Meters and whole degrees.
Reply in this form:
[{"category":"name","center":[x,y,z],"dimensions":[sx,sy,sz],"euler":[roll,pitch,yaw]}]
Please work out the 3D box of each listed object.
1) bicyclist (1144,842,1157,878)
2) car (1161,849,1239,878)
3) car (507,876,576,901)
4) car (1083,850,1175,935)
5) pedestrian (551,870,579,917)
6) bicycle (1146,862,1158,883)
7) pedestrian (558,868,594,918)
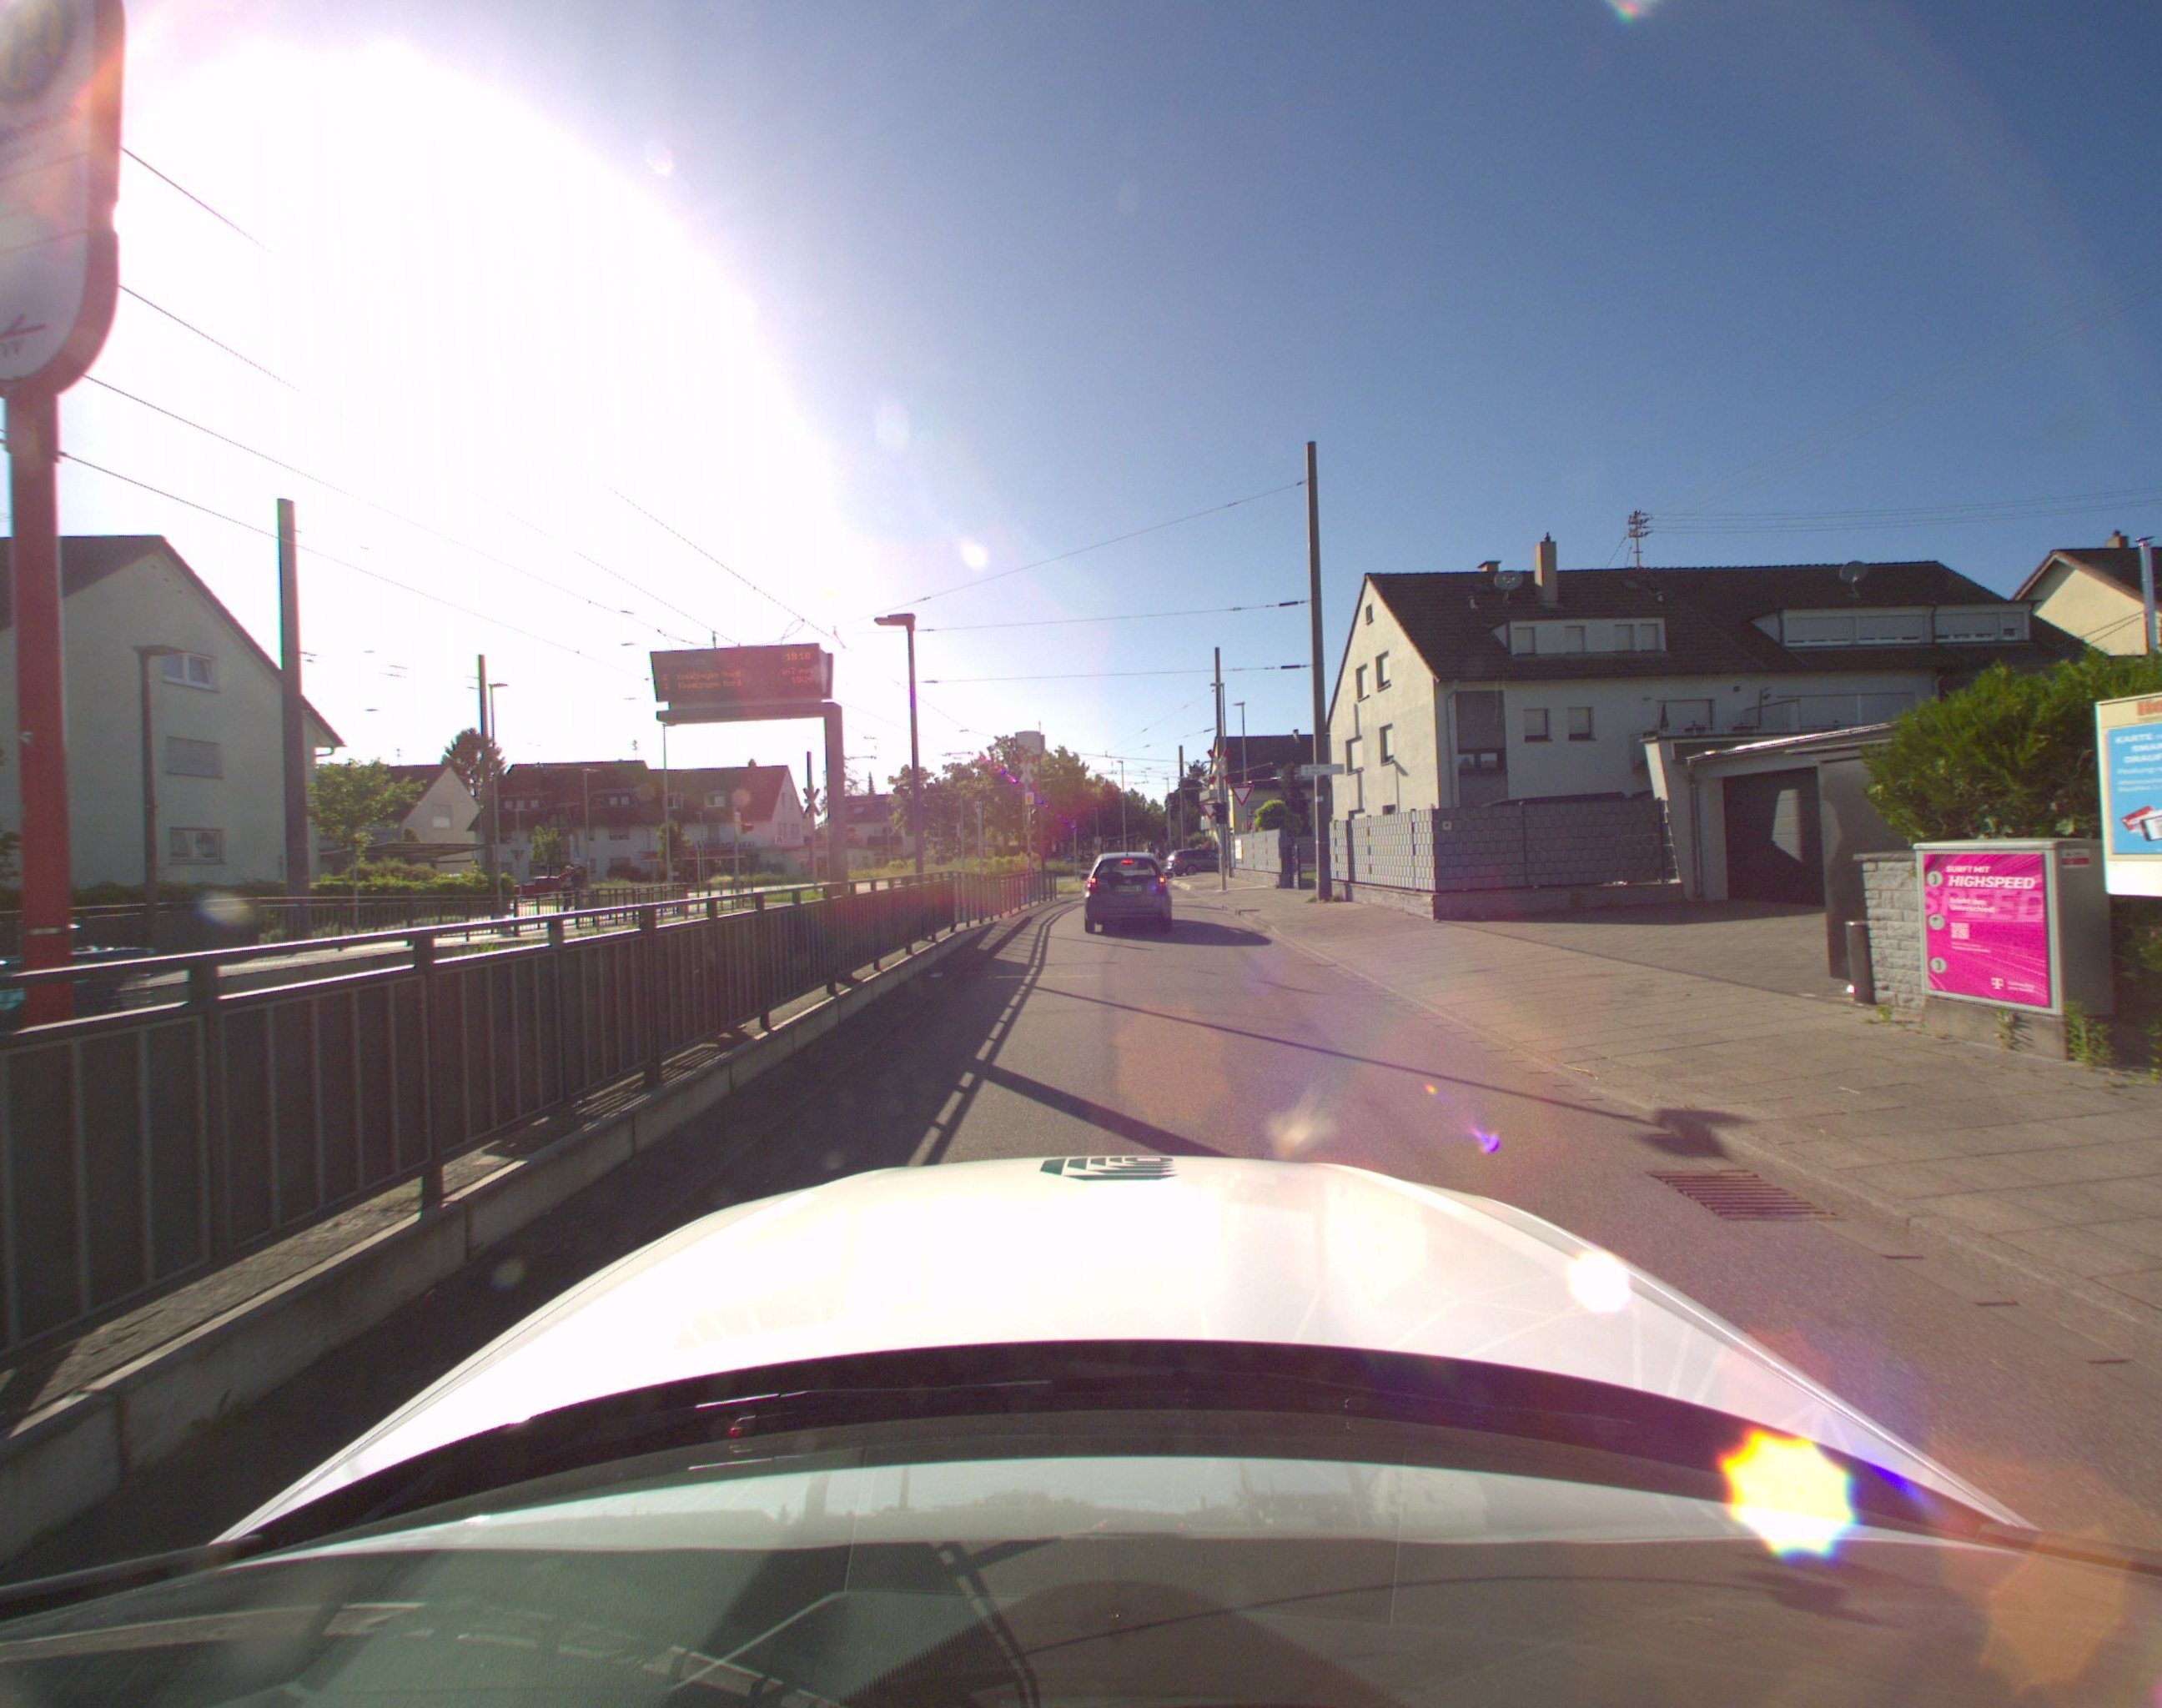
[{"category":"bicyclist","center":[3.352,0.297,39.369],"dimensions":[0.596,1.701,0.684],"euler":[-1,-1,2]},{"category":"car","center":[6.681,0.520,45.750],"dimensions":[3.997,1.529,1.797],"euler":[-1,-1,-18]},{"category":"car","center":[-38.071,2.432,57.541],"dimensions":[3.505,1.473,1.817],"euler":[-3,0,-7]},{"category":"car","center":[0.910,0.707,16.671],"dimensions":[1.664,1.535,3.487],"euler":[-1,0,1]},{"category":"pedestrian","center":[-19.484,1.492,30.779],"dimensions":[0.591,1.732,0.689],"euler":[-1,0,0]},{"category":"bicycle","center":[3.441,0.885,39.475],"dimensions":[0.473,0.961,1.658],"euler":[-1,-1,2]},{"category":"pedestrian","center":[-18.515,1.434,29.870],"dimensions":[0.726,1.762,0.772],"euler":[-2,0,0]}]
